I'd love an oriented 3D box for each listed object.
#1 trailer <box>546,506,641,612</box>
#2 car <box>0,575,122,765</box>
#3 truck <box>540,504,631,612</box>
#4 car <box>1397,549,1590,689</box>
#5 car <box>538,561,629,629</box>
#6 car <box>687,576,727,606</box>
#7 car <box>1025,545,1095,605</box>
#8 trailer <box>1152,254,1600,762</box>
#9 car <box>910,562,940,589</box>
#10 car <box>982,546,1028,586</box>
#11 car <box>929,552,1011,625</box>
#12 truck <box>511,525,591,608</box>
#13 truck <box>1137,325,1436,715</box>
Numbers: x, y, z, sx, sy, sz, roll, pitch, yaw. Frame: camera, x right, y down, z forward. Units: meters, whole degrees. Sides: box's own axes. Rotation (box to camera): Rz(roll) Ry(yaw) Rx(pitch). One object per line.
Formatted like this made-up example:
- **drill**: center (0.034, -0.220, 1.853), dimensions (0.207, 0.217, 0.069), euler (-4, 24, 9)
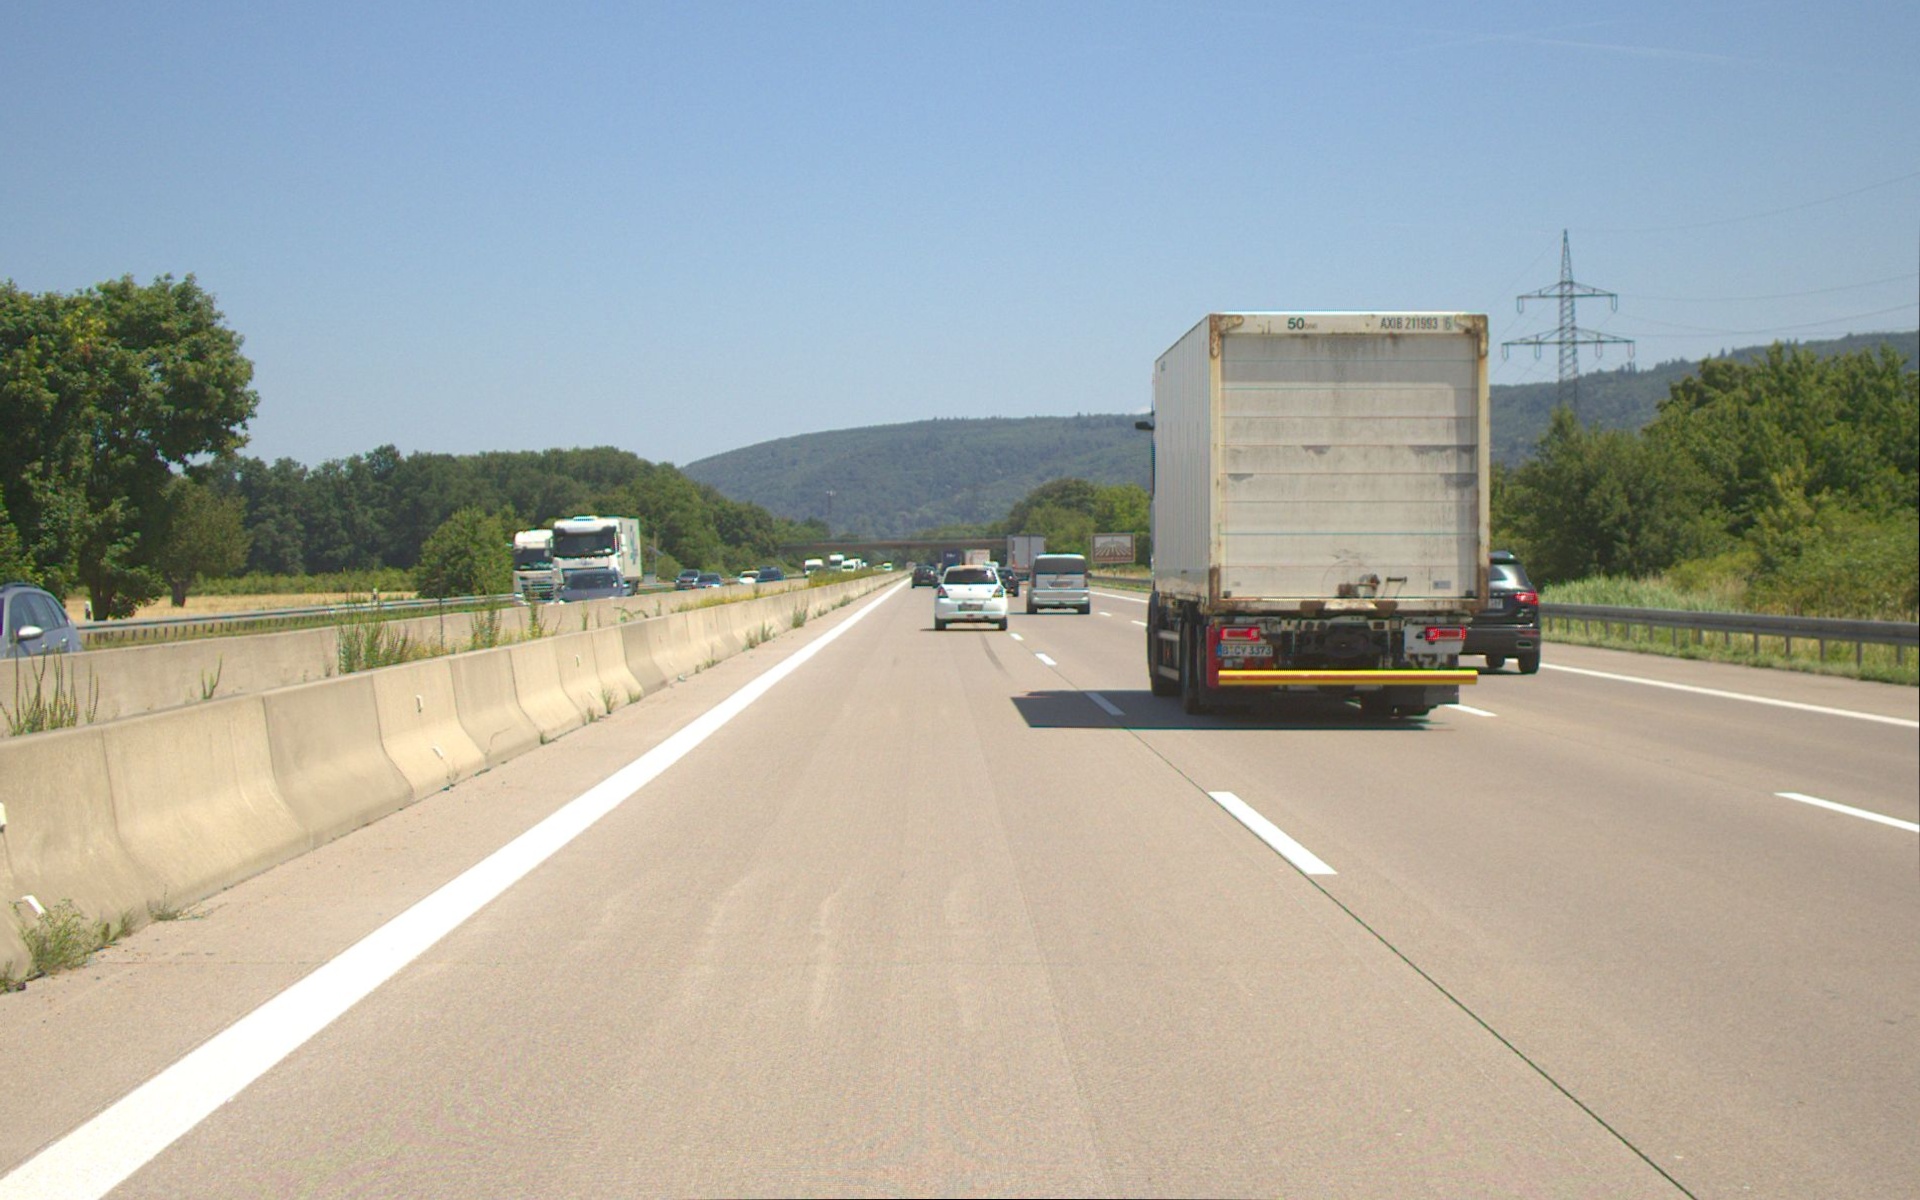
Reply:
- **trailer**: center (-14.190, -1.607, 133.642), dimensions (2.900, 3.956, 8.478), euler (1, 1, -1)
- **car**: center (-9.624, 0.612, 33.372), dimensions (1.882, 1.689, 4.682), euler (1, 1, -1)
- **truck**: center (-14.127, -1.581, 130.002), dimensions (2.900, 3.956, 5.046), euler (1, 1, -1)
- **car**: center (7.567, 0.236, 49.151), dimensions (1.993, 1.842, 4.000), euler (2, 1, -1)
- **car**: center (-9.785, -0.145, 89.657), dimensions (1.863, 1.723, 4.140), euler (1, 1, 0)
- **car**: center (-15.251, -0.549, 207.557), dimensions (1.993, 1.711, 5.025), euler (1, 1, 0)
- **car**: center (3.137, -0.798, 108.865), dimensions (1.993, 1.842, 4.000), euler (1, 1, -1)
- **trailer**: center (3.479, -0.763, 31.528), dimensions (2.580, 3.864, 10.374), euler (1, 1, -1)
- **car**: center (-2.358, -1.661, 230.771), dimensions (1.928, 1.788, 4.000), euler (1, 1, -1)
- **car**: center (2.201, -1.675, 169.737), dimensions (1.993, 1.842, 4.000), euler (2, 1, -2)
- **car**: center (0.213, -0.291, 81.013), dimensions (1.819, 1.656, 4.000), euler (0, 1, -1)
- **truck**: center (-18.579, -1.522, 156.496), dimensions (2.803, 3.675, 7.236), euler (1, 1, 0)
- **truck**: center (3.384, -0.825, 36.774), dimensions (2.580, 3.864, 4.984), euler (1, 1, -1)
